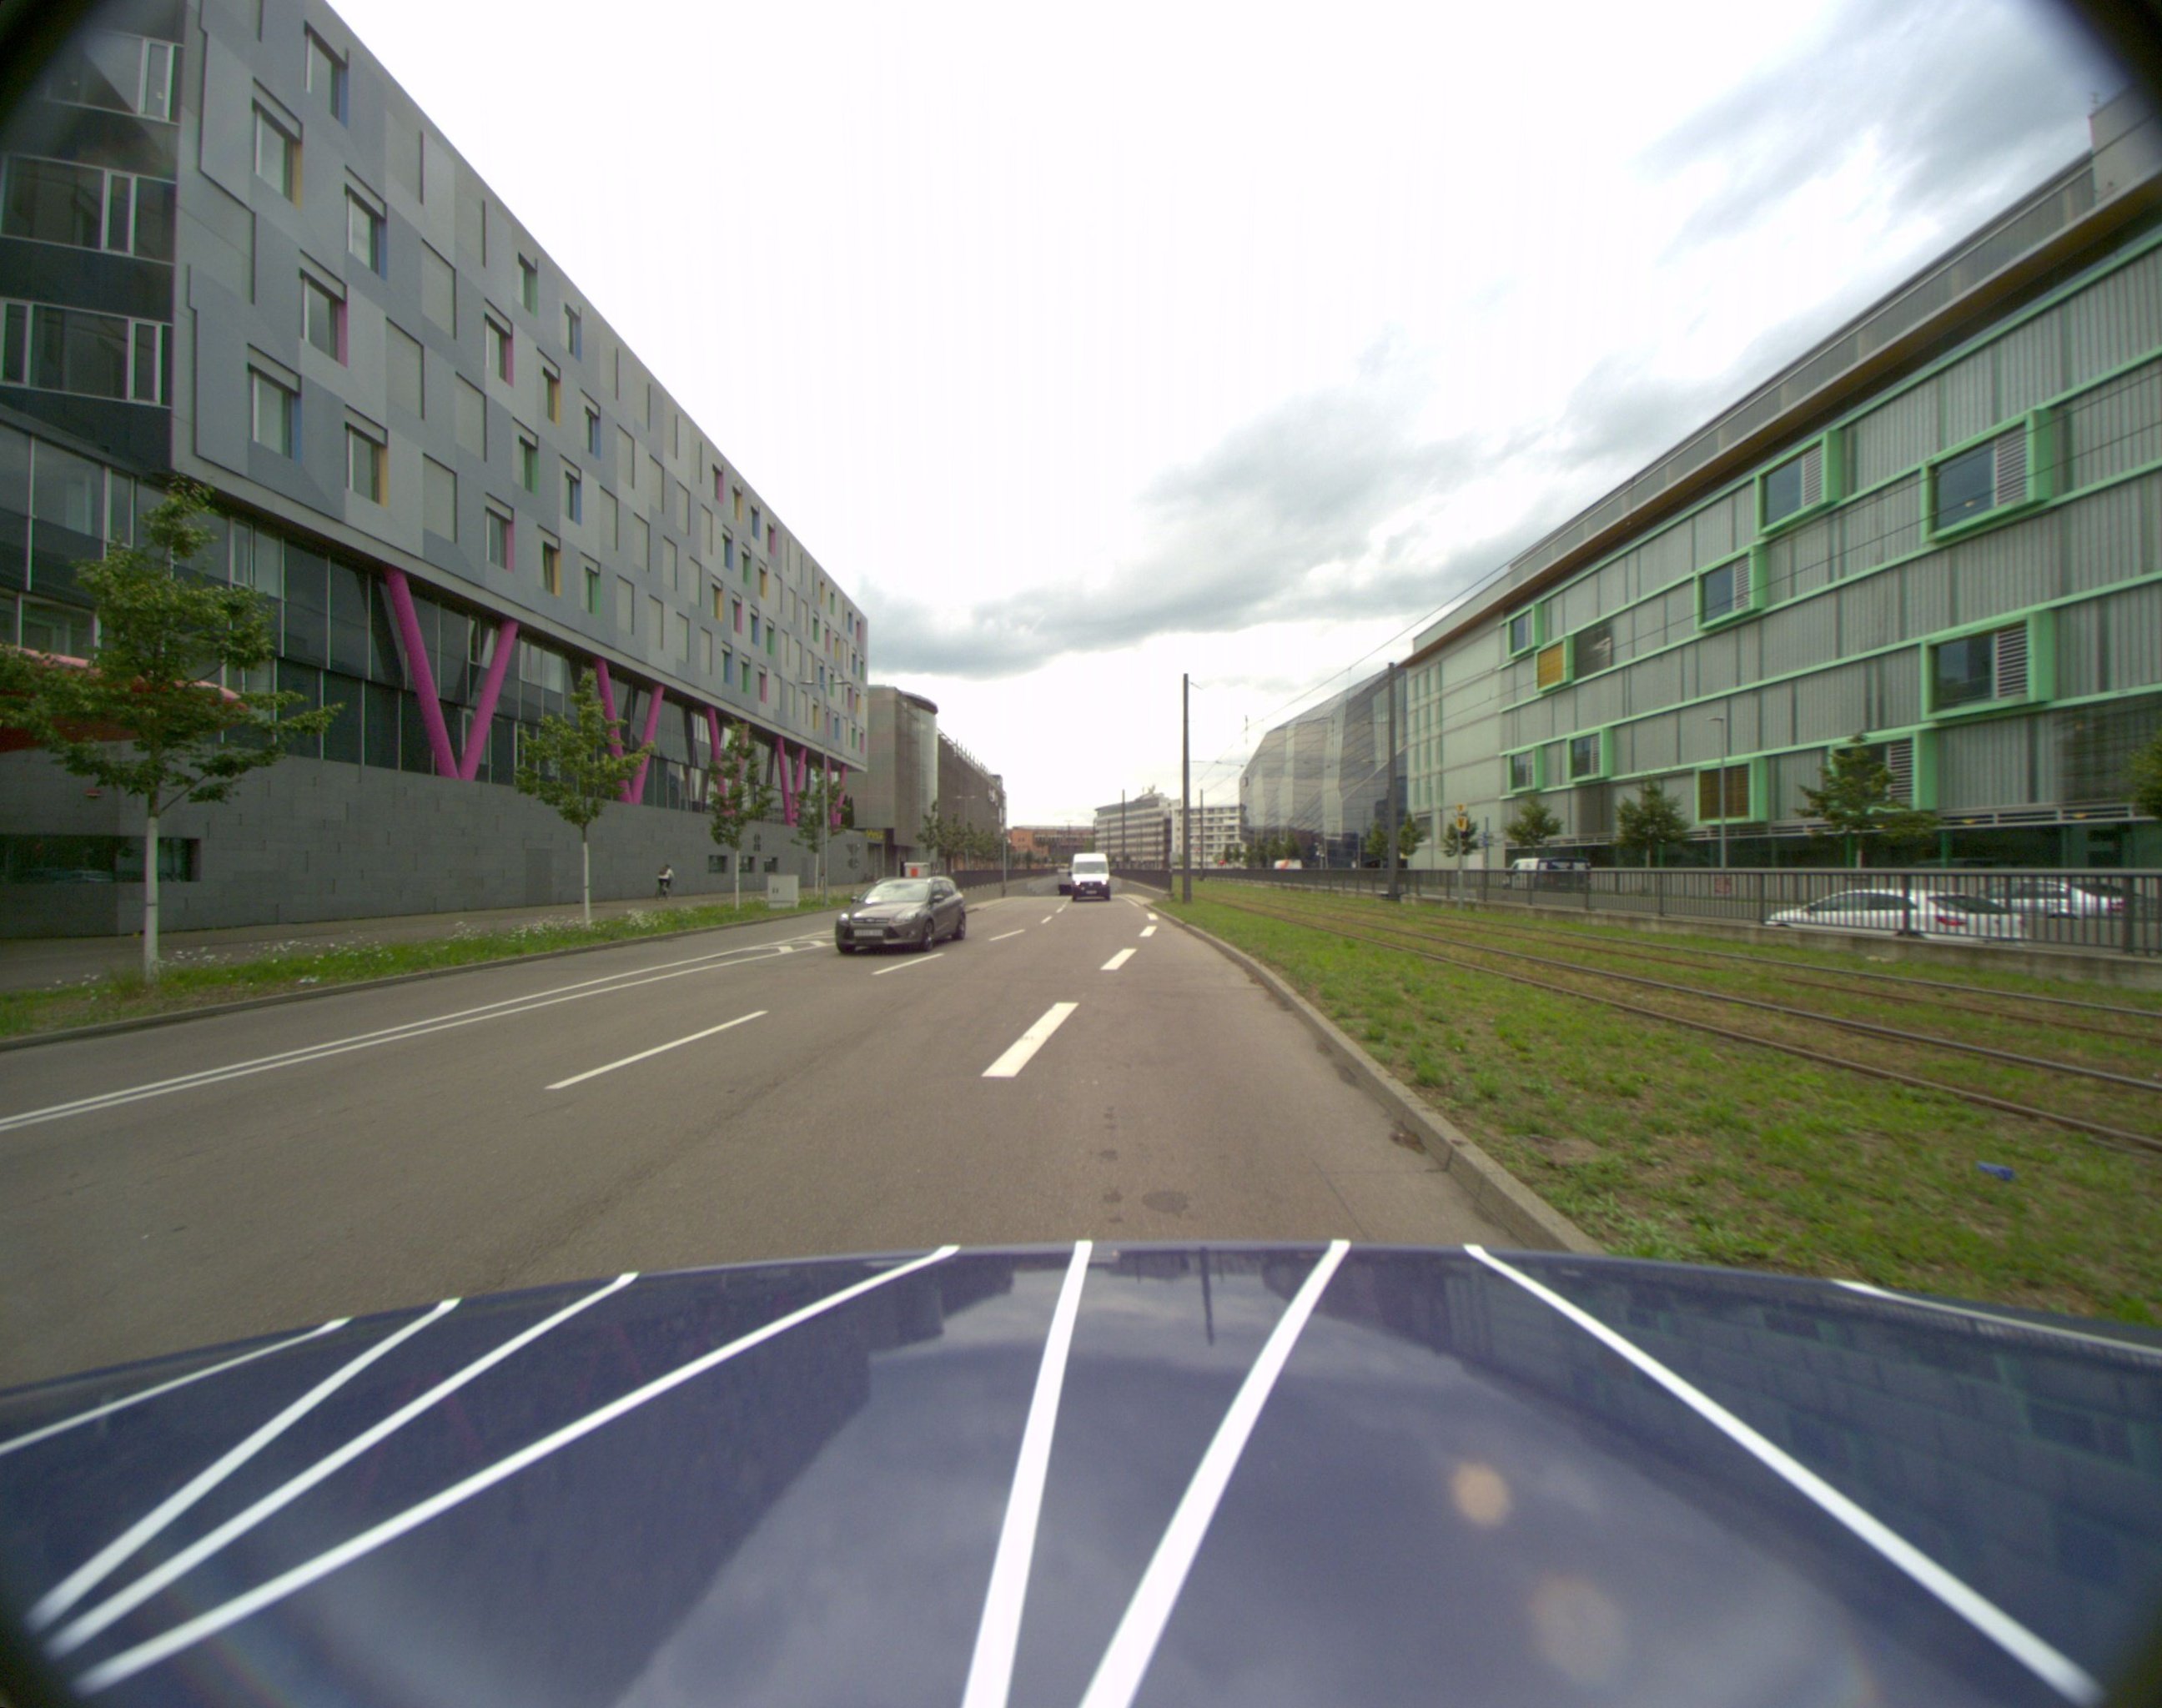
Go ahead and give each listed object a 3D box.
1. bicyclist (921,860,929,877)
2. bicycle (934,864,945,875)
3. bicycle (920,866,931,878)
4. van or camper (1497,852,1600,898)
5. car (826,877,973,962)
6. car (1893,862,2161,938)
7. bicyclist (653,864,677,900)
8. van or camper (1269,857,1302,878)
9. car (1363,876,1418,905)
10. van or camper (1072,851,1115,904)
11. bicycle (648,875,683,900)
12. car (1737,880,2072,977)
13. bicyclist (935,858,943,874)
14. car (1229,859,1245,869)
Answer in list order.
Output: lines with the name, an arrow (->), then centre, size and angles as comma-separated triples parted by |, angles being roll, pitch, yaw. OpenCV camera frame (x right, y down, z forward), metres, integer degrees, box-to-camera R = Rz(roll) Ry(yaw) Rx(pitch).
bicyclist -> -17.500, 1.616, 85.245 | 0.784, 1.790, 0.705 | -1, -4, 0
bicycle -> -16.344, 1.804, 87.575 | 0.801, 1.151, 2.345 | -1, -1, 0
bicycle -> -17.486, 2.061, 85.447 | 0.801, 1.150, 2.347 | -1, -5, 0
van or camper -> 24.353, 1.066, 39.892 | 2.178, 2.273, 5.359 | 0, -1, 1
car -> -3.644, 1.271, 16.058 | 1.751, 1.490, 4.271 | -1, -1, 5
car -> 23.801, 1.042, 19.030 | 1.998, 1.656, 4.648 | 0, -1, 1
bicyclist -> -20.700, 1.376, 37.812 | 0.773, 1.776, 0.973 | 0, -1, -7
van or camper -> 23.882, 1.567, 88.803 | 2.178, 2.273, 6.508 | -1, -1, 1
car -> 23.752, 2.855, 58.529 | 1.999, 2.000, 4.975 | -1, -5, -2
van or camper -> 0.619, 1.244, 39.947 | 2.043, 2.571, 5.042 | -1, -1, 0
bicycle -> -20.716, 1.678, 37.954 | 0.785, 1.187, 2.219 | 0, -1, -7
car -> 16.128, 1.369, 15.324 | 1.999, 1.576, 4.379 | 0, -1, -1
bicyclist -> -16.350, 1.359, 87.454 | 0.784, 1.791, 0.705 | -1, -1, 0
car -> 27.250, 1.741, 132.887 | 1.998, 1.582, 4.769 | 0, -2, 3
